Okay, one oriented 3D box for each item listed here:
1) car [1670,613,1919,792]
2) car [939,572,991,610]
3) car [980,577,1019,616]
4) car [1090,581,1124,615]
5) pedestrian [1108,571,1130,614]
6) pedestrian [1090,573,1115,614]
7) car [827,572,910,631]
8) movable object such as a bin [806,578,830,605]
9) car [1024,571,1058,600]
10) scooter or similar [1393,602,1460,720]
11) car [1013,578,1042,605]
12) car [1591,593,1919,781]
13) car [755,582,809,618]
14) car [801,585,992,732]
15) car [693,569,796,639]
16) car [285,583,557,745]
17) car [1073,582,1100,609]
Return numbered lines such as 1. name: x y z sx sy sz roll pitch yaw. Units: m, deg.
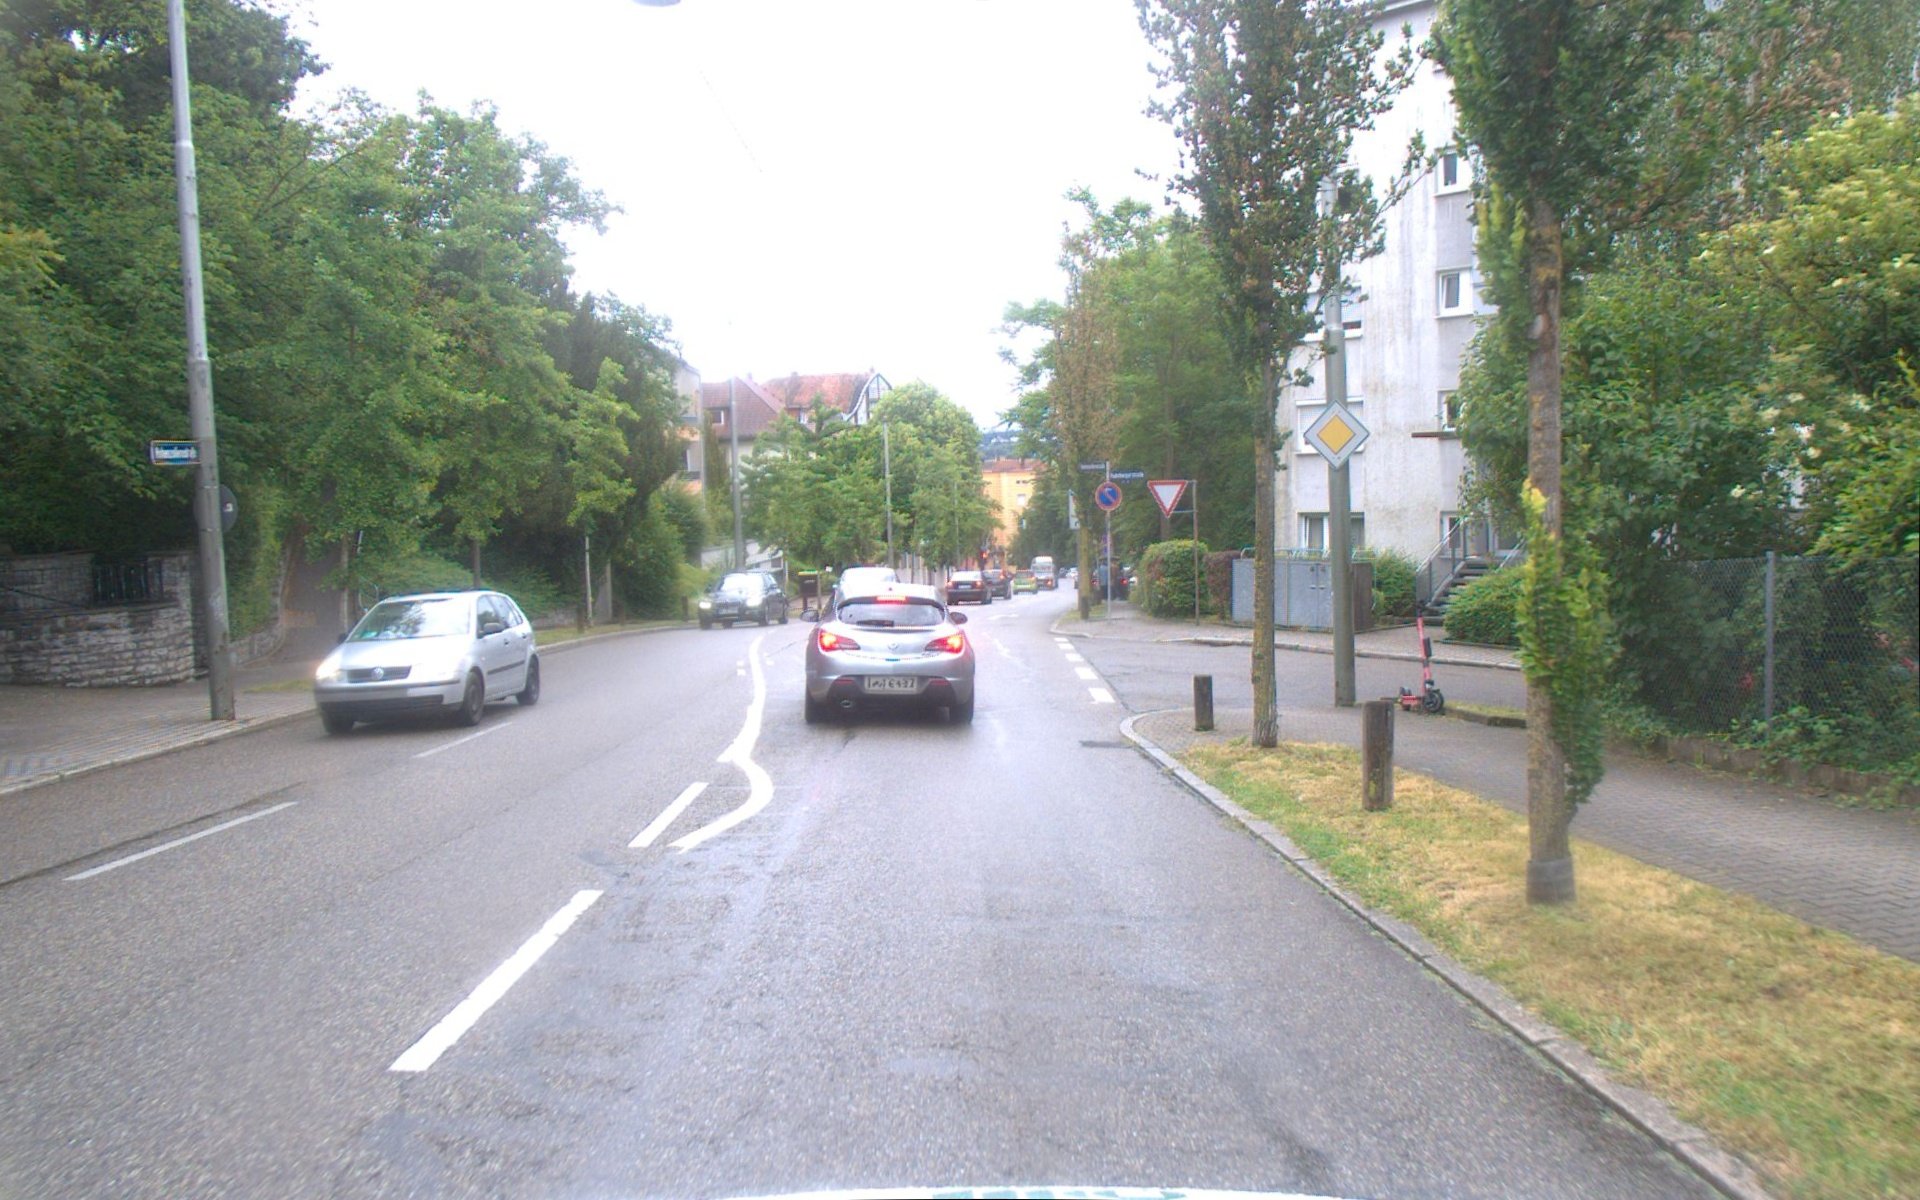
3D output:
1. car: 10.233 1.149 18.845 1.632 1.548 3.516 -3 8 -43
2. car: 0.242 -0.388 69.835 1.919 1.497 3.953 1 1 4
3. car: 1.987 -0.181 82.576 1.731 1.812 3.979 1 1 4
4. car: 6.691 -0.095 75.512 1.472 1.460 4.002 -2 0 5
5. pedestrian: 7.041 -0.329 73.195 0.653 1.868 0.685 -4 1 -19
6. pedestrian: 6.294 -0.282 73.008 0.724 1.753 0.761 -4 1 -19
7. car: -2.185 0.026 40.413 1.760 1.346 4.000 0 0 1
8. movable object such as a bin: -7.688 -0.452 89.399 1.245 1.411 0.489 0 1 4
9. car: 6.259 -1.120 127.192 2.284 2.071 4.739 1 1 6
10. scooter or similar: 5.226 0.664 18.578 0.336 1.276 1.267 1 -1 -2
11. car: 4.467 -0.568 108.880 1.717 1.680 4.002 1 0 4
12. car: 7.586 0.725 15.695 1.473 1.460 3.998 2 1 -3
13. car: -8.253 -0.006 76.954 1.705 1.481 3.886 -5 0 4
14. car: -0.674 0.594 18.672 1.906 1.457 3.883 1 0 -1
15. car: -5.647 0.090 43.899 1.872 1.612 4.588 -5 0 2
16. car: -6.006 0.636 18.921 1.729 1.511 3.802 -3 1 1
17. car: 10.391 -0.350 135.519 1.951 2.071 4.739 1 1 6
